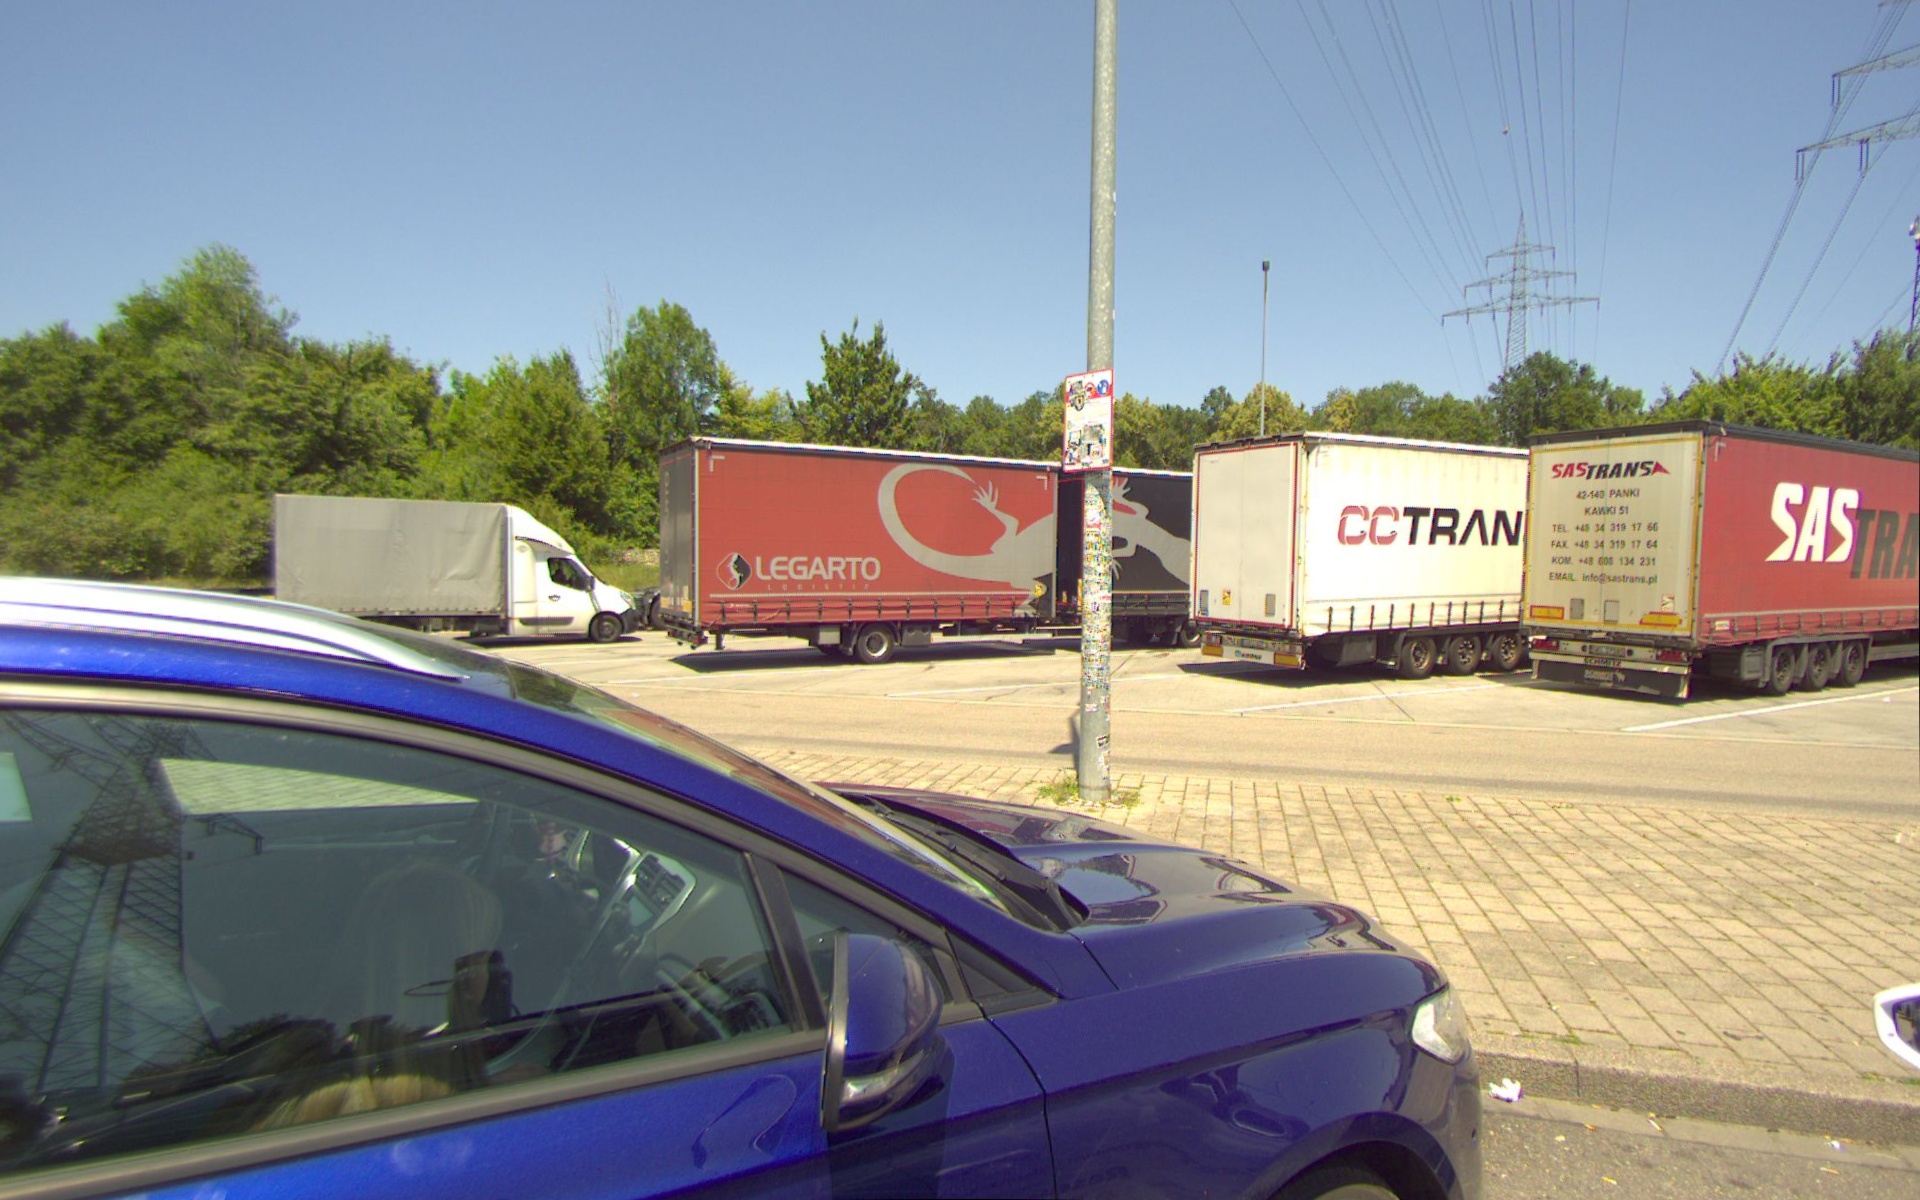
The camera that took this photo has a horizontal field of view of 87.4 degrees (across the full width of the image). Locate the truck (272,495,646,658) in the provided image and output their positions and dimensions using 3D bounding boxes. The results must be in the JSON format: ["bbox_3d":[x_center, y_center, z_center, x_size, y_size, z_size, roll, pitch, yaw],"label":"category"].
[{"bbox_3d":[-11.096,-0.583,22.868,7.219,3.277,2.308,-2,3,-29],"label":"truck"}]

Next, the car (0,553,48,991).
[{"bbox_3d":[-4.592,0.556,2.110,3.700,1.432,1.595,0,0,-32],"label":"car"}]

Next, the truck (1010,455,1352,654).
[{"bbox_3d":[5.621,-1.076,24.823,8.683,4.248,2.800,-1,2,-30],"label":"truck"}]

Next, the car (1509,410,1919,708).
[{"bbox_3d":[15.236,-0.692,18.449,12.777,4.169,2.683,-1,3,-30],"label":"car"}]

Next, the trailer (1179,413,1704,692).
[{"bbox_3d":[10.130,-0.880,20.062,12.786,4.325,2.800,-1,2,-31],"label":"trailer"}]

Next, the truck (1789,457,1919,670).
[{"bbox_3d":[21.161,-0.772,21.861,6.163,4.169,2.683,-1,3,-30],"label":"truck"}]

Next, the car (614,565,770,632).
[{"bbox_3d":[-7.586,-0.045,28.510,3.953,1.773,1.902,0,0,-30],"label":"car"}]

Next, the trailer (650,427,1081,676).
[{"bbox_3d":[-1.725,-0.928,20.499,8.389,4.248,2.800,-1,2,-30],"label":"trailer"}]

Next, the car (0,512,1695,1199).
[{"bbox_3d":[-0.966,0.670,1.459,4.380,1.464,1.771,0,0,-32],"label":"car"}]

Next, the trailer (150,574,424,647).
[{"bbox_3d":[-15.931,0.244,24.173,5.332,1.617,1.585,0,0,-30],"label":"trailer"}]
